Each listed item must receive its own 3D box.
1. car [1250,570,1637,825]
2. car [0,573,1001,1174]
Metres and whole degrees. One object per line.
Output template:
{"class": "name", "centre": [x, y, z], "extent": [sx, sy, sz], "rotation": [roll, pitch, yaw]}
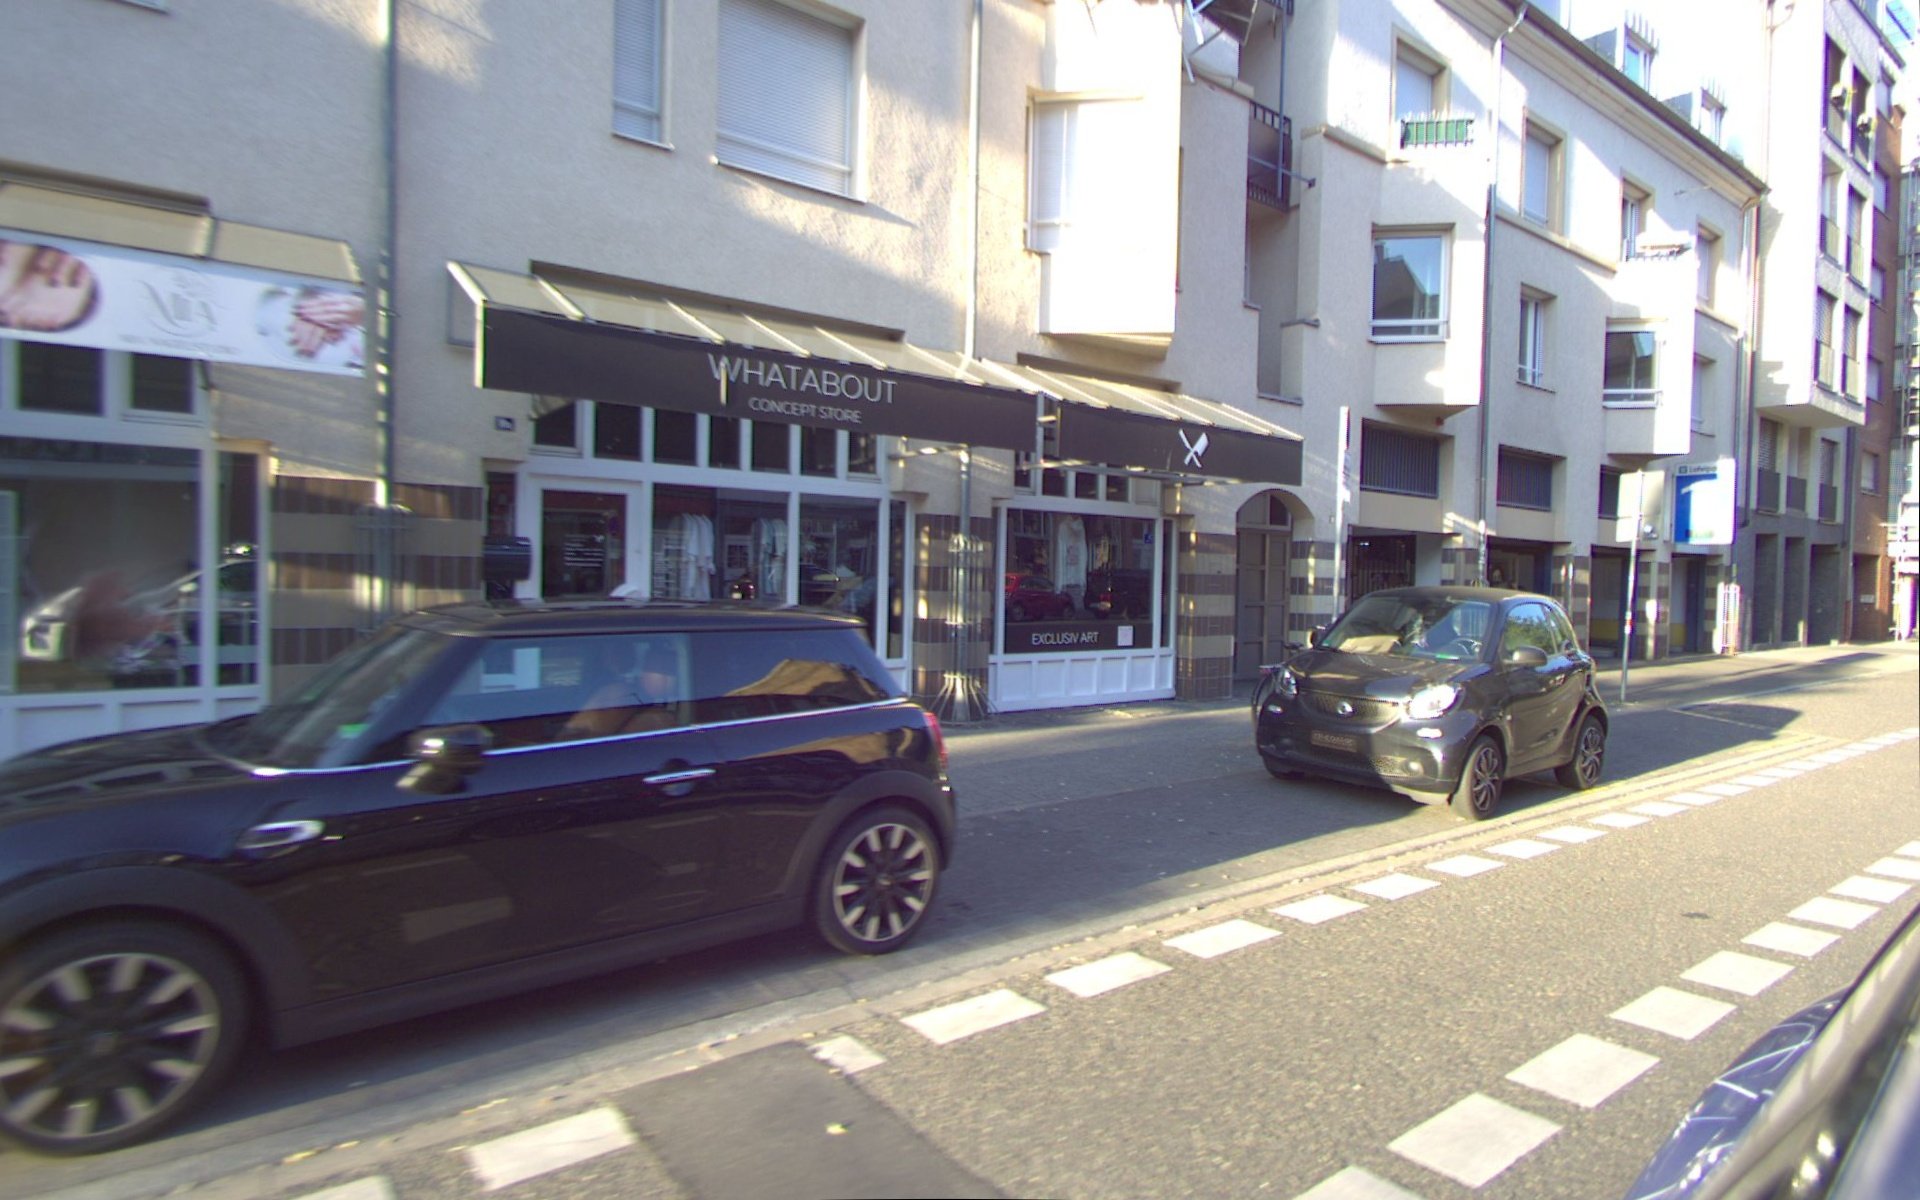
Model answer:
{"class": "car", "centre": [3.790, 0.595, 7.865], "extent": [2.751, 1.568, 1.573], "rotation": [0, 3, -37]}
{"class": "car", "centre": [-1.821, 0.658, 3.990], "extent": [3.679, 1.439, 1.728], "rotation": [0, 3, -37]}
